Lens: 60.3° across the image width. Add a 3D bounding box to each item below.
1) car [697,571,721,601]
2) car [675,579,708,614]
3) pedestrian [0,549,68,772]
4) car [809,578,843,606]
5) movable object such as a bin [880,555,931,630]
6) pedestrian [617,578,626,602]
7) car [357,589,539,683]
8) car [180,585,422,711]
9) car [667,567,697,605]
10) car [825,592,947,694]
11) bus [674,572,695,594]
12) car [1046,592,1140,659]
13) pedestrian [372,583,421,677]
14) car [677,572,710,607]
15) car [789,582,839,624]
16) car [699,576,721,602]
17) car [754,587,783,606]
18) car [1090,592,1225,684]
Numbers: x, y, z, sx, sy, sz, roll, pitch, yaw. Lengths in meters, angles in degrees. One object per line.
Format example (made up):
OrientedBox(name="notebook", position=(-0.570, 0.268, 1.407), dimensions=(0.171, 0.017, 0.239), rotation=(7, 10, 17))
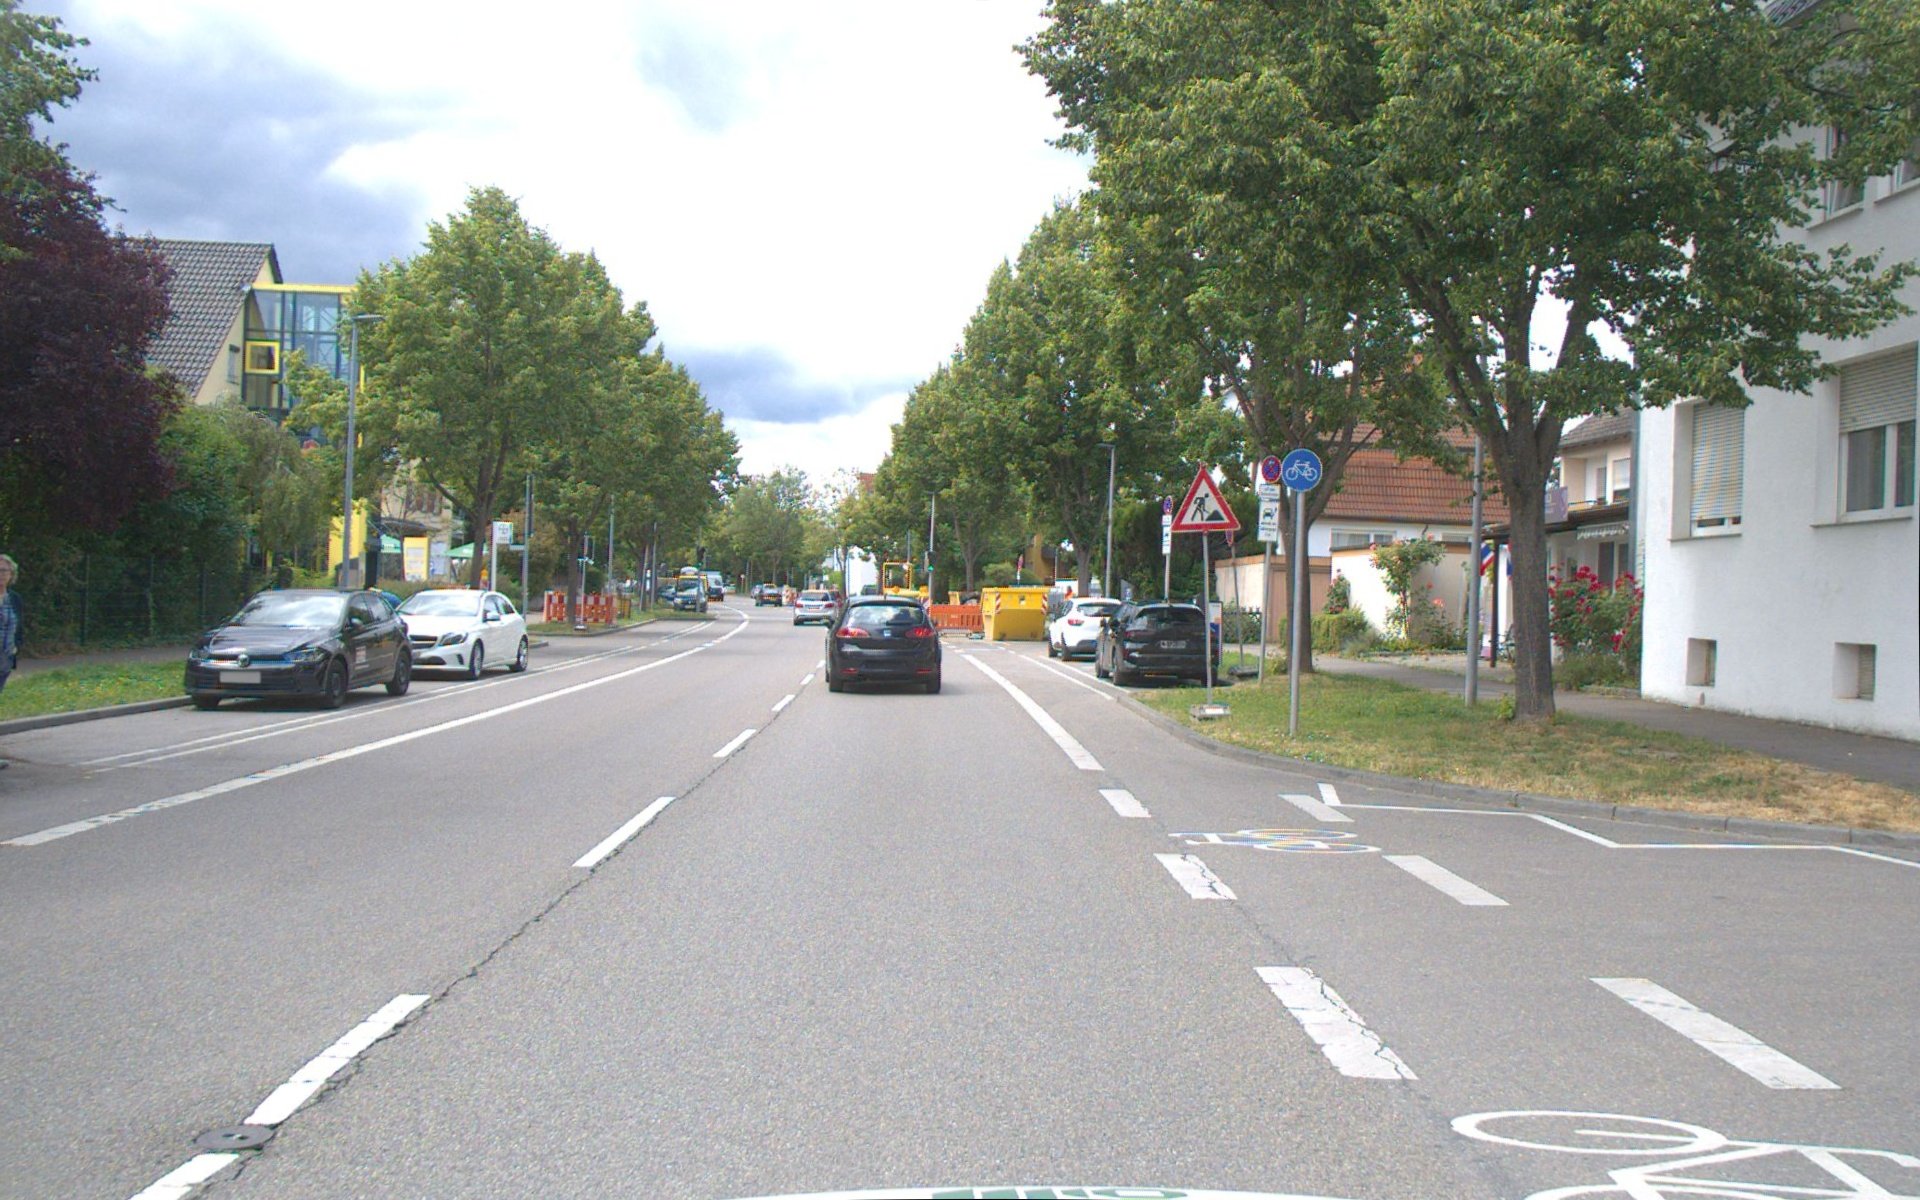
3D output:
OrientedBox(name="car", position=(-24.591, -1.399, 162.170), dimensions=(2.245, 2.840, 7.129), rotation=(0, 1, -9))
OrientedBox(name="car", position=(-14.225, -0.184, 87.746), dimensions=(1.636, 1.803, 4.459), rotation=(0, 1, -9))
OrientedBox(name="pedestrian", position=(-7.635, 0.459, 13.188), dimensions=(0.531, 1.710, 0.751), rotation=(3, 1, 7))
OrientedBox(name="car", position=(-8.173, -0.478, 100.894), dimensions=(1.758, 1.651, 3.732), rotation=(0, 0, -9))
OrientedBox(name="movable object such as a bin", position=(-2.047, -0.282, 61.012), dimensions=(1.733, 2.619, 3.737), rotation=(1, 0, -3))
OrientedBox(name="pedestrian", position=(-25.239, -0.744, 123.430), dimensions=(0.584, 1.772, 0.573), rotation=(1, 0, -10))
OrientedBox(name="car", position=(-8.506, 0.545, 27.851), dimensions=(1.679, 1.431, 4.300), rotation=(1, 0, 1))
OrientedBox(name="car", position=(-8.303, 0.545, 21.211), dimensions=(1.610, 1.445, 4.019), rotation=(0, 0, -2))
OrientedBox(name="car", position=(-20.141, -1.040, 119.840), dimensions=(2.054, 2.672, 5.034), rotation=(1, 0, -9))
OrientedBox(name="car", position=(-1.187, 0.625, 26.124), dimensions=(1.783, 1.463, 3.737), rotation=(1, 0, -3))
OrientedBox(name="bus", position=(-27.711, -1.690, 166.040), dimensions=(1.957, 2.160, 7.341), rotation=(1, 0, -10))
OrientedBox(name="car", position=(3.086, 0.566, 39.152), dimensions=(1.639, 1.488, 3.997), rotation=(1, 0, -4))
OrientedBox(name="pedestrian", position=(-9.452, 0.497, 27.727), dimensions=(0.577, 1.555, 0.690), rotation=(1, 0, -37))
OrientedBox(name="car", position=(-17.710, -0.699, 109.854), dimensions=(2.054, 2.213, 5.034), rotation=(1, 0, -9))
OrientedBox(name="car", position=(-6.187, 0.095, 70.488), dimensions=(1.867, 1.715, 3.739), rotation=(1, 0, -1))
OrientedBox(name="car", position=(-23.603, -1.055, 156.108), dimensions=(1.991, 2.426, 5.251), rotation=(0, 0, -9))
OrientedBox(name="car", position=(-15.060, -0.295, 130.199), dimensions=(1.779, 1.399, 3.679), rotation=(1, 0, -14))
OrientedBox(name="car", position=(3.420, 0.616, 29.414), dimensions=(1.671, 1.480, 4.614), rotation=(1, 0, -2))
